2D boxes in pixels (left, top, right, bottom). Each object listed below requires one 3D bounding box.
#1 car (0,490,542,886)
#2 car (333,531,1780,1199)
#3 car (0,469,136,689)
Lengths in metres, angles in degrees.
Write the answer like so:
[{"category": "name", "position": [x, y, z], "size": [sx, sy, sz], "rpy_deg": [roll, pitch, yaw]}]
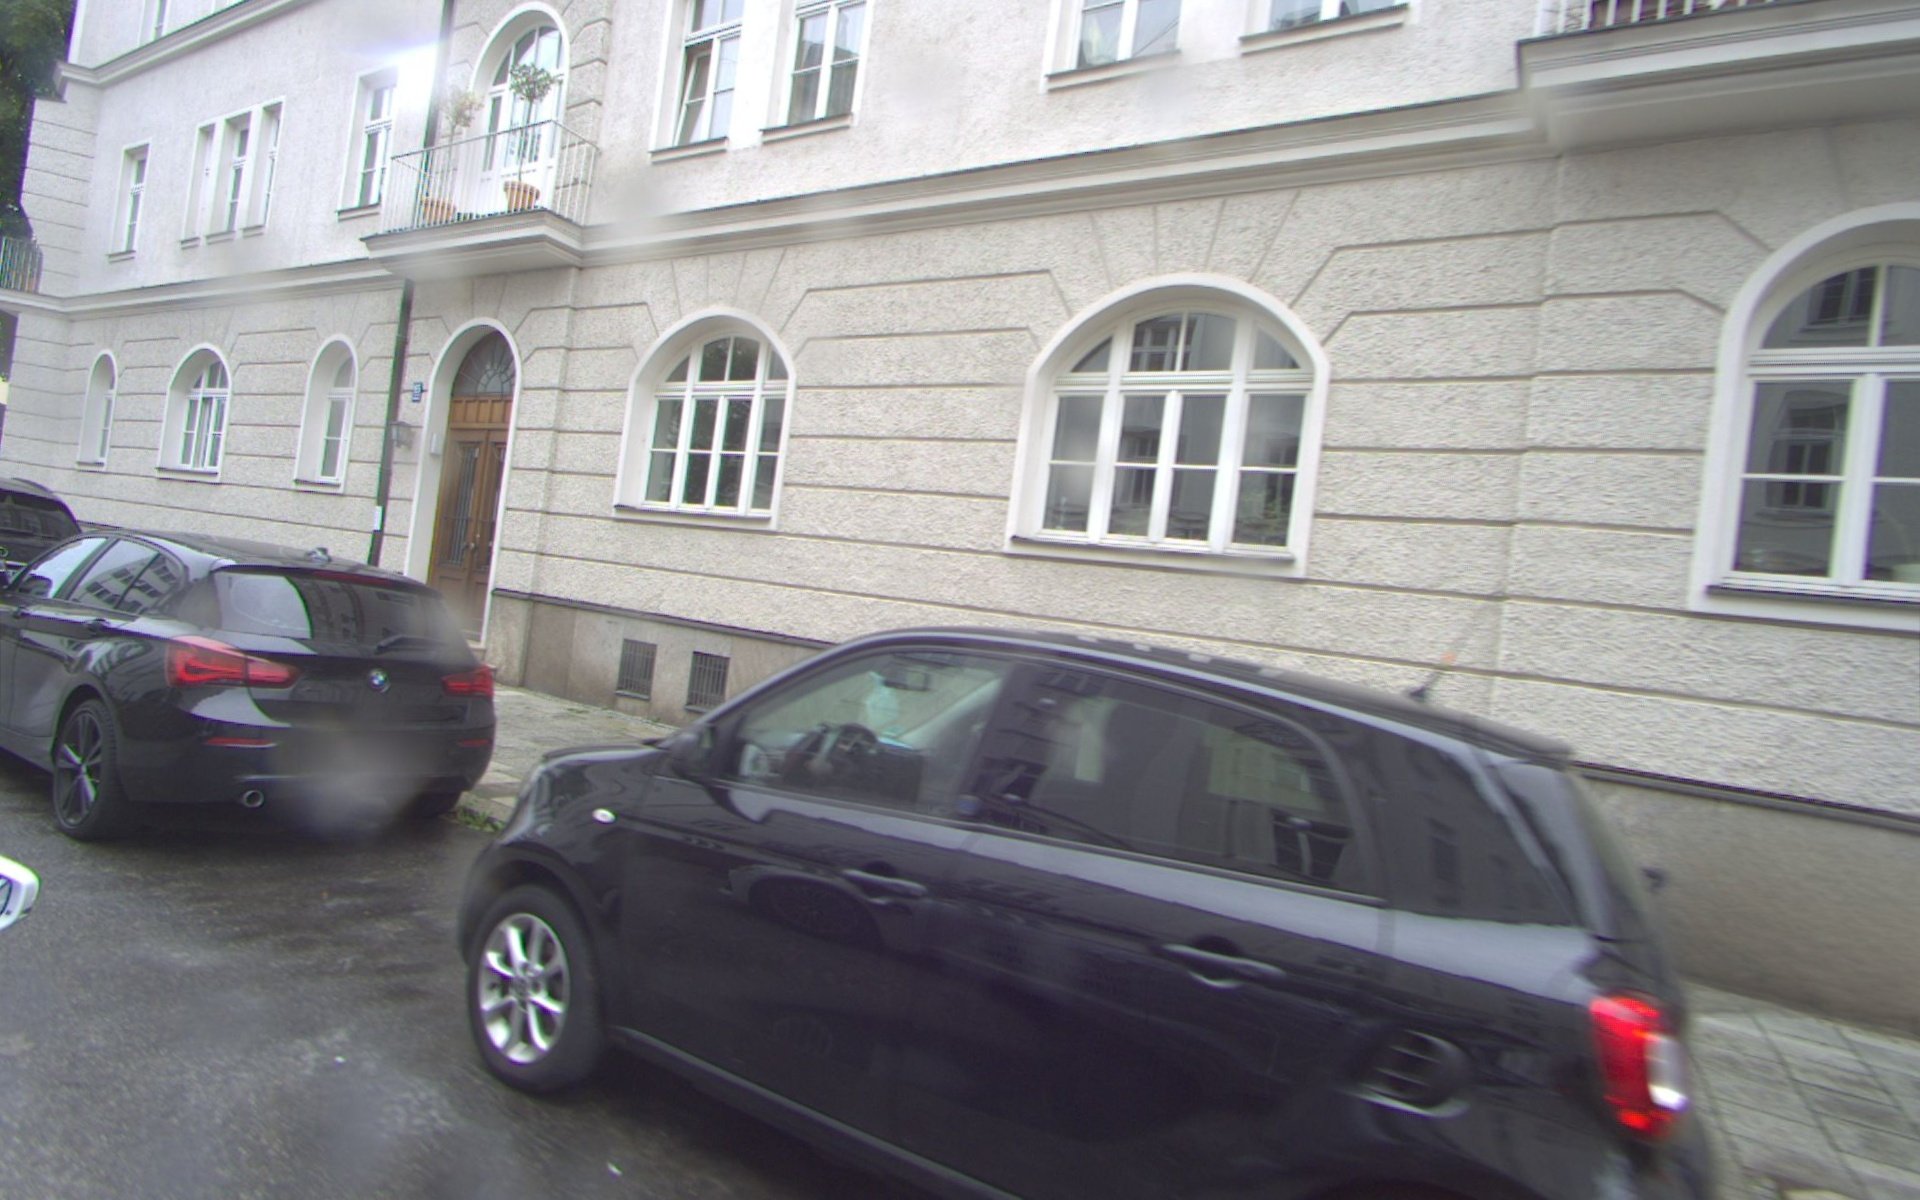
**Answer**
[{"category": "car", "position": [-4.549, 0.266, 5.871], "size": [4.132, 1.488, 1.709], "rpy_deg": [7, -1, 32]}, {"category": "car", "position": [-0.007, 0.826, 3.137], "size": [3.574, 1.543, 1.659], "rpy_deg": [8, -1, 29]}, {"category": "car", "position": [-9.228, -0.413, 8.733], "size": [4.302, 1.654, 1.781], "rpy_deg": [7, -2, 32]}]
